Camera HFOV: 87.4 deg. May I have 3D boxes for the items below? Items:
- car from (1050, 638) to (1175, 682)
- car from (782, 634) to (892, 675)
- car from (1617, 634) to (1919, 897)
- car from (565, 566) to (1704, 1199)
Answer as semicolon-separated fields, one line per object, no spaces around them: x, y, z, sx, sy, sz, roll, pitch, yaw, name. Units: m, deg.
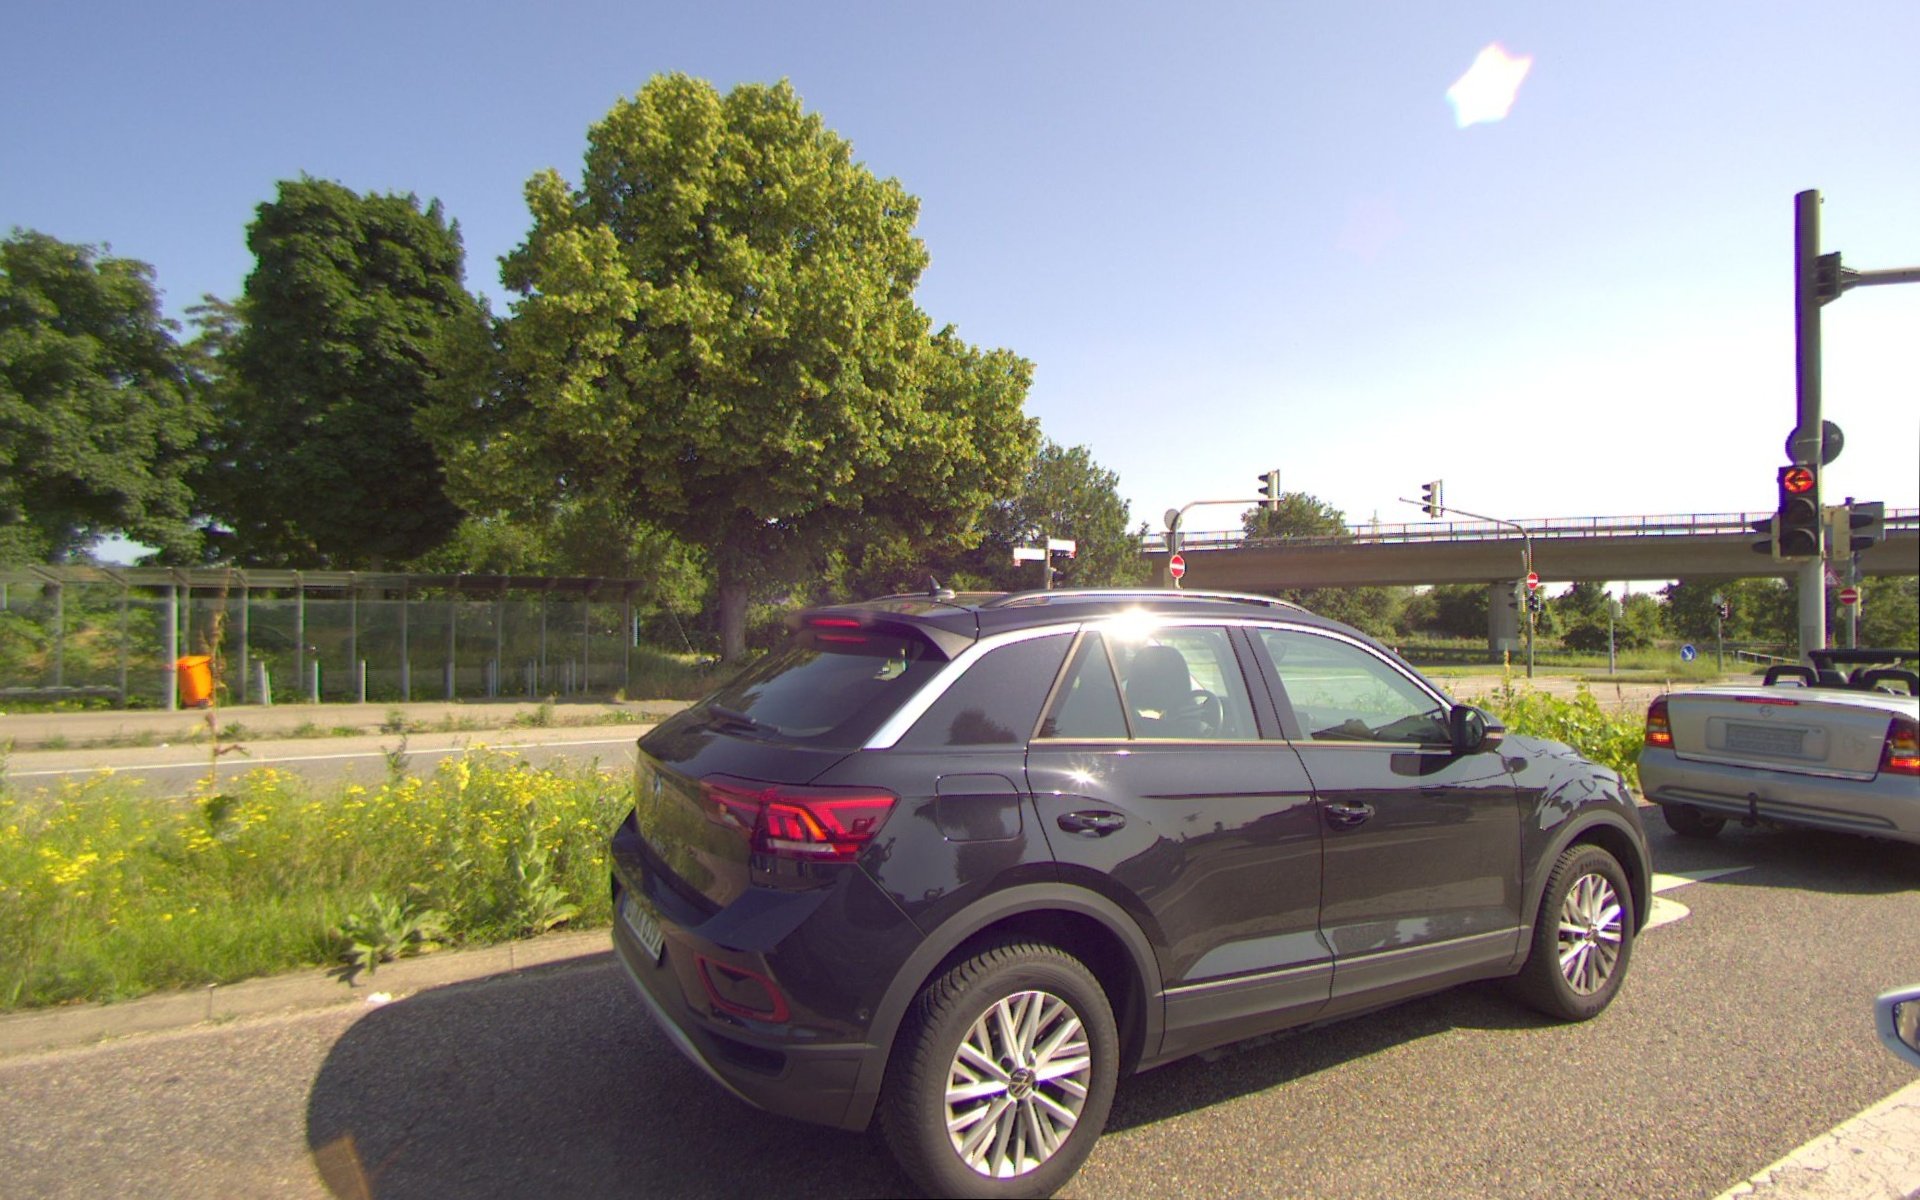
5.361;2.092;35.584;4.066;1.443;1.862;-2;-2;41;car
-5.048;2.189;41.265;4.272;1.616;1.650;-1;-2;25;car
6.555;0.945;7.010;4.049;1.352;1.666;1;-1;-30;car
0.802;0.748;3.753;4.049;1.568;1.721;1;-1;-30;car
